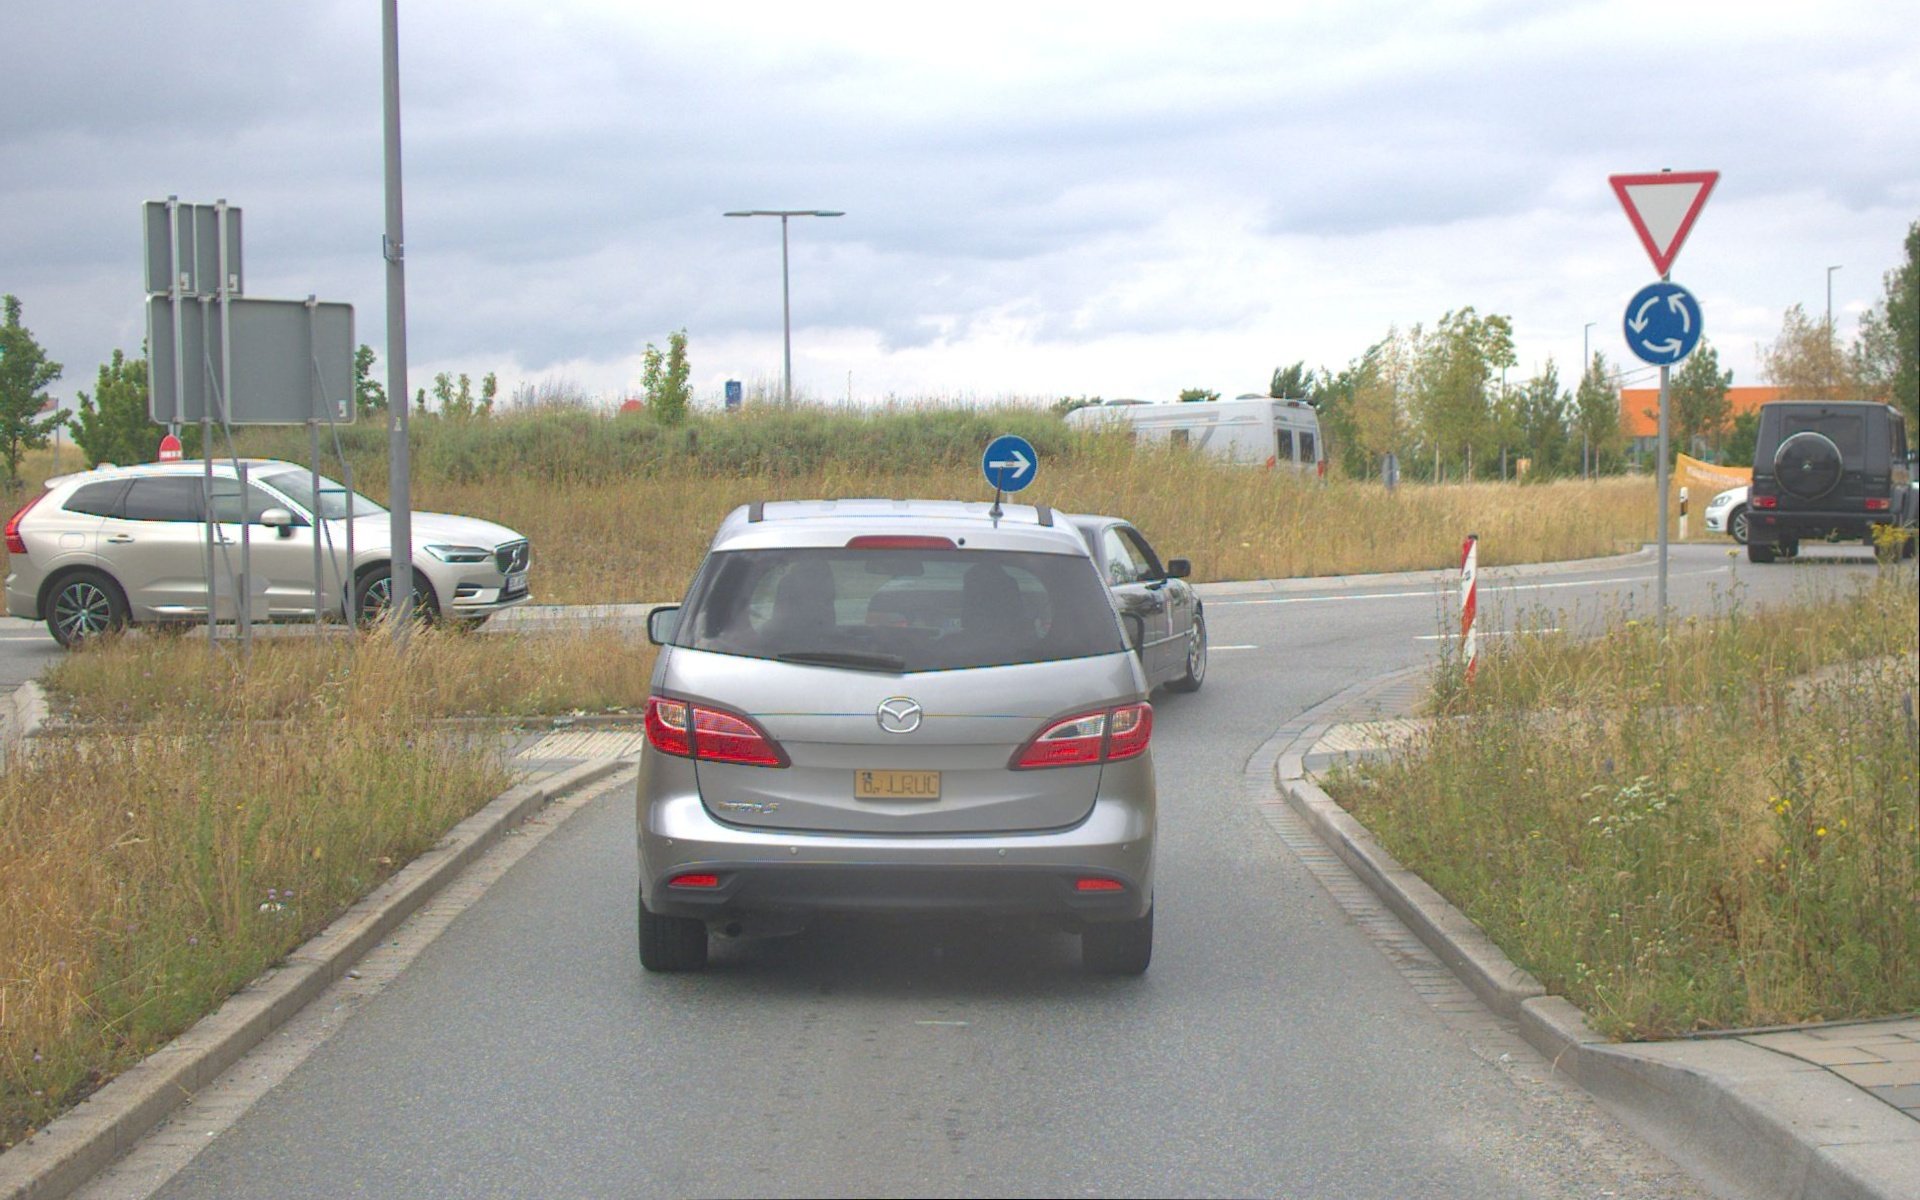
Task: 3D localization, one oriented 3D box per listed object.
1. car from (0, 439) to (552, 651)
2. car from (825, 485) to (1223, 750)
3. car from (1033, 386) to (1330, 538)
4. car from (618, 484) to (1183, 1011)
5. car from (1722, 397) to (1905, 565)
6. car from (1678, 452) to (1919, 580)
[{"bbox_3d":[-6.286,-0.504,30.948,4.761,1.732,1.944,-1,4,12],"label":"car"},{"bbox_3d":[0.519,0.035,22.717,1.739,1.398,3.996,1,5,14],"label":"car"},{"bbox_3d":[3.884,-2.428,60.506,4.768,2.535,2.081,1,4,33],"label":"car"},{"bbox_3d":[-0.227,0.397,12.727,1.738,1.593,3.998,1,2,-1],"label":"car"},{"bbox_3d":[10.704,-1.535,42.909,2.079,1.880,4.772,-1,4,15],"label":"car"},{"bbox_3d":[13.896,-1.328,53.965,4.765,1.880,2.082,0,4,26],"label":"car"}]
